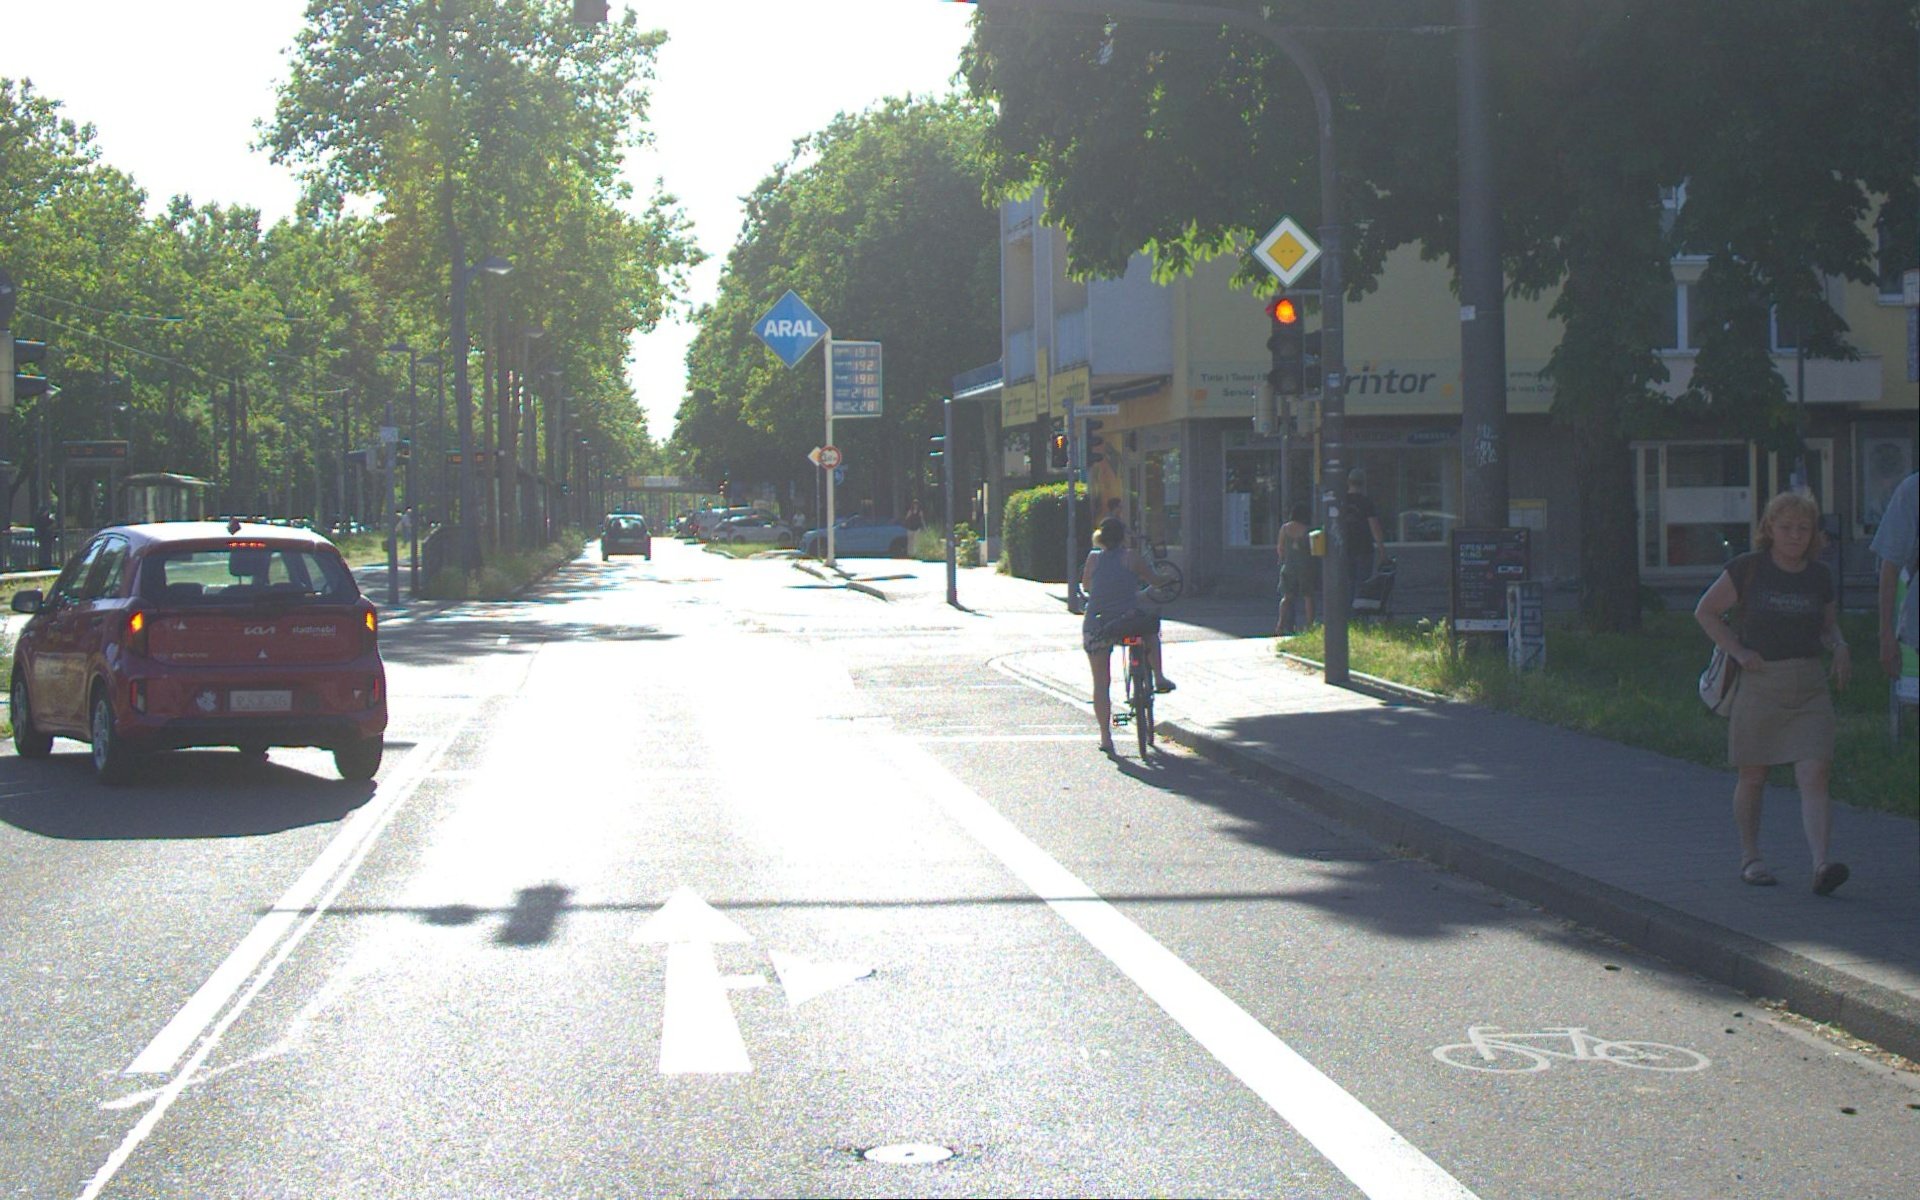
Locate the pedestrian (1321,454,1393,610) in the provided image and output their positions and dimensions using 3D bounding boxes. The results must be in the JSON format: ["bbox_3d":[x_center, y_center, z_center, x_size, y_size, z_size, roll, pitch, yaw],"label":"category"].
[{"bbox_3d":[4.361,-0.746,37.783,0.730,1.676,0.532,2,1,7],"label":"pedestrian"}]

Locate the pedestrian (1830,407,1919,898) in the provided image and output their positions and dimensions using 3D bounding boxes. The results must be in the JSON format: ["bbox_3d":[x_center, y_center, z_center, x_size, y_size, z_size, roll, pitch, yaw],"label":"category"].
[{"bbox_3d":[3.742,0.165,12.900,0.703,1.783,0.694,-3,3,1],"label":"pedestrian"}]

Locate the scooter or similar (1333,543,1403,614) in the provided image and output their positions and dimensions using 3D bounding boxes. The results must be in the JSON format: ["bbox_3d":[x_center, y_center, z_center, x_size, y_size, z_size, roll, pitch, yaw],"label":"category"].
[{"bbox_3d":[4.405,-0.240,37.138,0.597,0.735,0.681,2,1,-6],"label":"scooter or similar"}]

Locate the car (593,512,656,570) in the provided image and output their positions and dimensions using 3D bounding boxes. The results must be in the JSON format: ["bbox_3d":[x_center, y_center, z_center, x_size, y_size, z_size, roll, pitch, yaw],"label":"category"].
[{"bbox_3d":[-11.262,-1.992,115.162,1.968,1.853,4.001,2,1,-7],"label":"car"}]

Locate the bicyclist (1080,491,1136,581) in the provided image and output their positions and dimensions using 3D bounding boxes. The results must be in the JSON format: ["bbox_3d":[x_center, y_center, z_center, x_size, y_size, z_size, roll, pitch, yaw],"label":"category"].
[{"bbox_3d":[2.507,-1.089,58.229,0.769,1.466,0.897,-1,2,12],"label":"bicyclist"}]

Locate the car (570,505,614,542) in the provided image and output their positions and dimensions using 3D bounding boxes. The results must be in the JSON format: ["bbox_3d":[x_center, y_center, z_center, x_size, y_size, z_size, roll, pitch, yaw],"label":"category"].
[{"bbox_3d":[-16.463,-3.432,153.758,1.893,1.605,4.501,2,1,-6],"label":"car"}]

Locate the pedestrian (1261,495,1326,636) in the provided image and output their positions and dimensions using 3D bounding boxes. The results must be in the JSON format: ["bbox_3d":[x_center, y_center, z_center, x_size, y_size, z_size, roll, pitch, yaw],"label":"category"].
[{"bbox_3d":[3.663,-0.379,37.758,0.647,1.517,0.496,2,1,7],"label":"pedestrian"}]

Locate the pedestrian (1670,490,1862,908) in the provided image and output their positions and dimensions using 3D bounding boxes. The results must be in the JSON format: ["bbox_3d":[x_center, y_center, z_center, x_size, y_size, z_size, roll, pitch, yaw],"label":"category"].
[{"bbox_3d":[3.039,0.358,13.007,0.529,1.523,0.627,-2,1,0],"label":"pedestrian"}]

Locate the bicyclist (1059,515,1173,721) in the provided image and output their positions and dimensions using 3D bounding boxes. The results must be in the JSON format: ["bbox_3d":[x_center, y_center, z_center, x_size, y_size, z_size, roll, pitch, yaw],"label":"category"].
[{"bbox_3d":[1.021,0.106,22.690,0.638,1.318,0.803,2,1,-3],"label":"bicyclist"}]

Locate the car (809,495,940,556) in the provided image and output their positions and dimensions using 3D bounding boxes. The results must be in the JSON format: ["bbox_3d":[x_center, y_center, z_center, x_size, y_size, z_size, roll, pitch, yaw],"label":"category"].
[{"bbox_3d":[-2.750,-2.415,111.096,3.988,1.853,2.011,2,1,6],"label":"car"}]

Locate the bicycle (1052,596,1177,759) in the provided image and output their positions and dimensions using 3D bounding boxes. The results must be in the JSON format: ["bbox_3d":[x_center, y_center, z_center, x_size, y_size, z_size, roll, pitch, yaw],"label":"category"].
[{"bbox_3d":[1.005,0.493,22.707,0.648,0.969,1.804,2,1,-2],"label":"bicycle"}]

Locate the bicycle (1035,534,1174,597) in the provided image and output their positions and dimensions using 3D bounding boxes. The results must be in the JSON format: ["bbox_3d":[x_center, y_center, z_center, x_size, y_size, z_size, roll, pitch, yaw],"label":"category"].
[{"bbox_3d":[2.453,-0.587,58.208,2.252,0.984,0.788,0,7,10],"label":"bicycle"}]

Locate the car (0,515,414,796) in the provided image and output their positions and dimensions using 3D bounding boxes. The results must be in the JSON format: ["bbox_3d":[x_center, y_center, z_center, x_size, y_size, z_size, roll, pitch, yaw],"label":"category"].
[{"bbox_3d":[-4.668,0.268,20.877,1.694,1.503,3.700,0,2,-25],"label":"car"}]
